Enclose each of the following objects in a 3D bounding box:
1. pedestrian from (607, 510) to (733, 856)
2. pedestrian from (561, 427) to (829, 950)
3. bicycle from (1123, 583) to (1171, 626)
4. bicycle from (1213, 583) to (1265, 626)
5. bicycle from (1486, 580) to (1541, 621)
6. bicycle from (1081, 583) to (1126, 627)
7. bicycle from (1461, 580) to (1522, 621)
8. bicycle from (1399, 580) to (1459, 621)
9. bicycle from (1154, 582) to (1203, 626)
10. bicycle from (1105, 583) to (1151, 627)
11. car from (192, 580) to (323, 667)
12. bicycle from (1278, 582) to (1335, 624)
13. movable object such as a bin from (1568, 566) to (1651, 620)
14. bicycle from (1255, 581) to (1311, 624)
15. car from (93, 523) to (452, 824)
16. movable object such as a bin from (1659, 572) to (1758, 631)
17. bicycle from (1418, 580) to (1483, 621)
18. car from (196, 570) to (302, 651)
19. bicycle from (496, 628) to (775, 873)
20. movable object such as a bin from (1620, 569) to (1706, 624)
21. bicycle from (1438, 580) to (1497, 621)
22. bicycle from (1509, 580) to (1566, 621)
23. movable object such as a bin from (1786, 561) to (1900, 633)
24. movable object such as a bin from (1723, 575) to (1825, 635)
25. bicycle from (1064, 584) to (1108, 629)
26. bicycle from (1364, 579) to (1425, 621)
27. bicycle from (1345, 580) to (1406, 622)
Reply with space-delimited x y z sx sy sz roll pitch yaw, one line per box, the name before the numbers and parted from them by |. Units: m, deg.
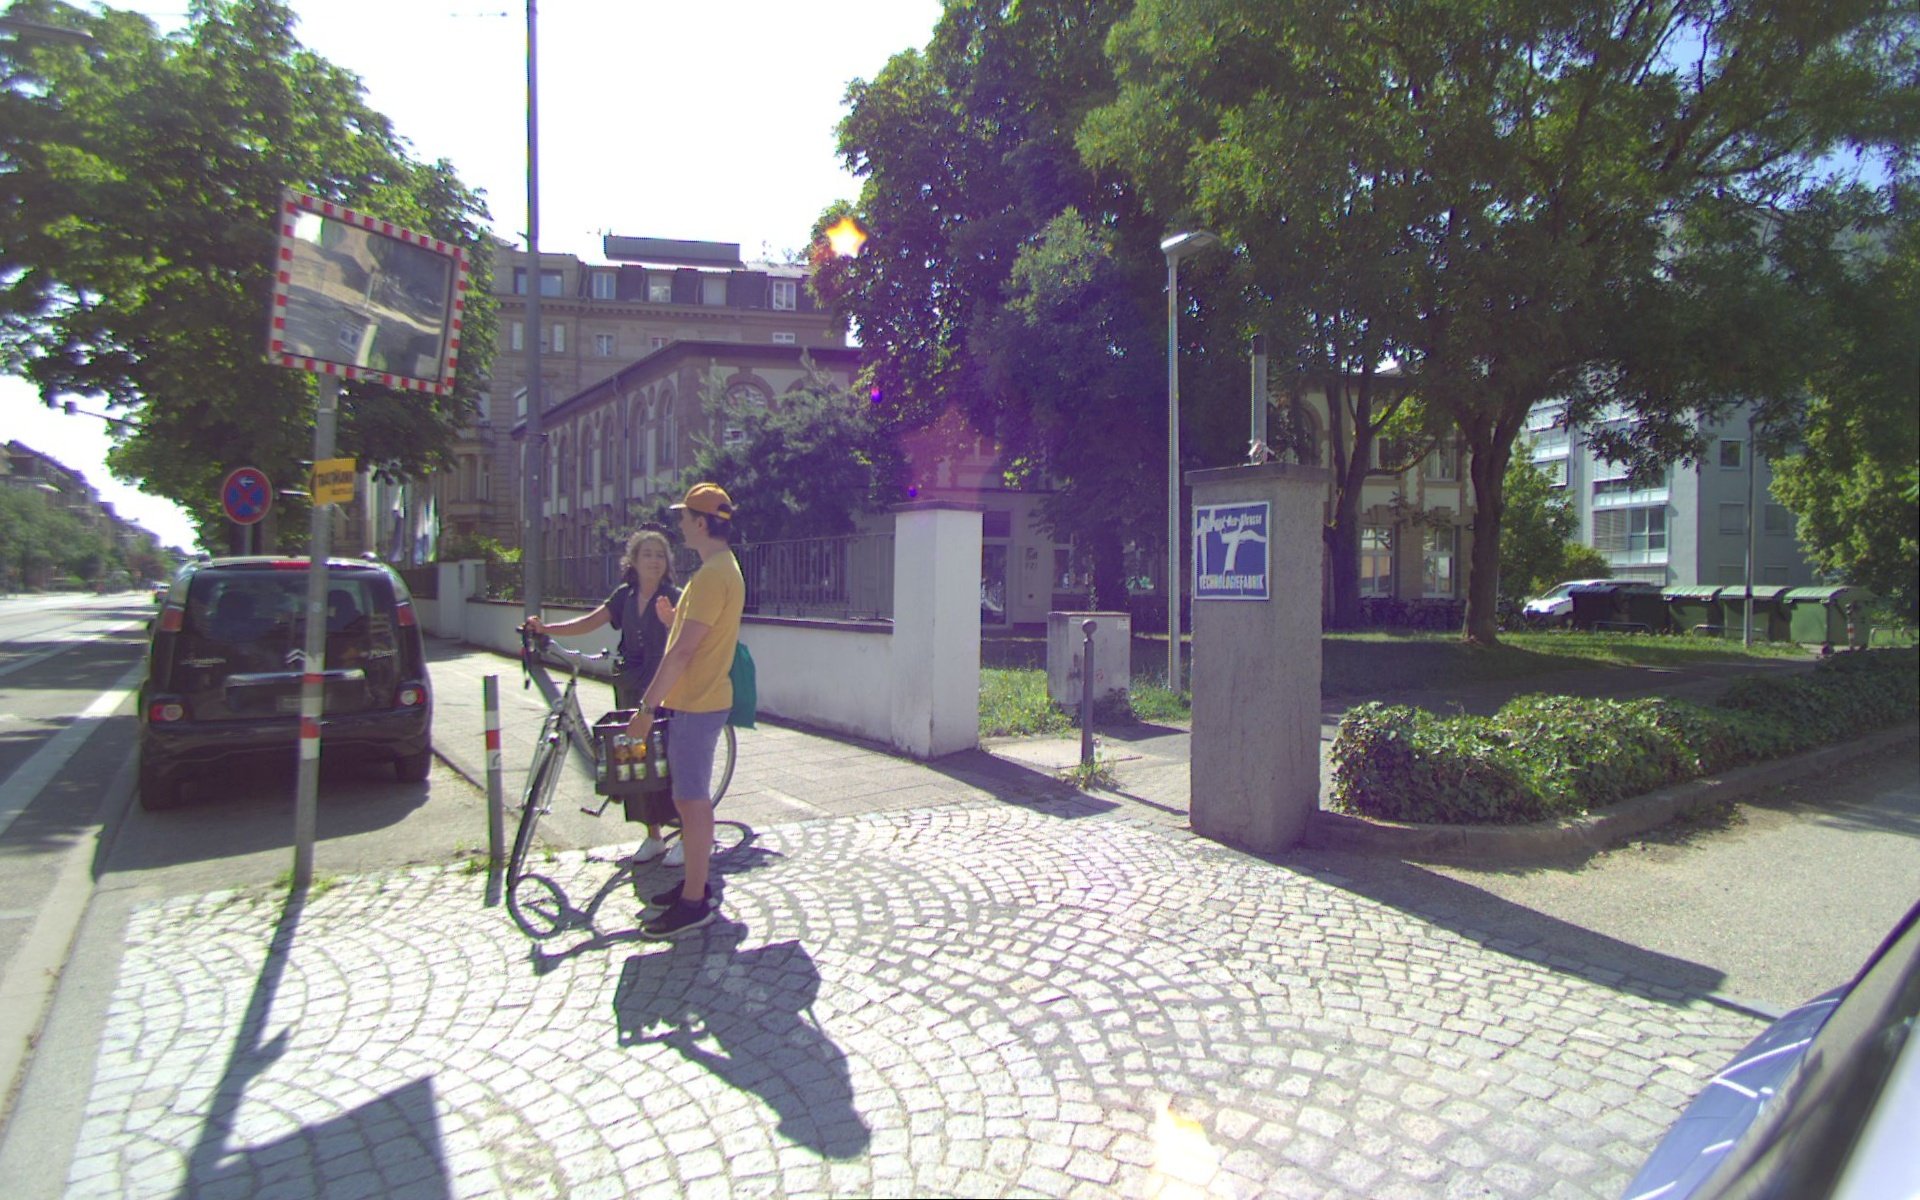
pedestrian | -1.460 0.389 5.105 0.419 1.642 0.448 0 0 36
pedestrian | -1.119 0.310 4.235 0.838 1.888 0.829 -1 1 -36
bicycle | 5.252 0.098 28.532 0.576 1.176 2.106 0 1 -11
bicycle | 7.937 0.106 28.883 0.576 1.176 2.106 0 1 -11
bicycle | 16.520 0.005 30.232 0.497 1.176 1.807 0 1 -6
bicycle | 3.962 0.118 28.168 0.576 1.176 2.106 0 1 -11
bicycle | 15.868 -0.002 30.268 0.601 1.176 1.854 0 1 -11
bicycle | 13.785 0.005 29.774 0.576 1.176 1.925 0 1 -11
bicycle | 6.161 0.094 28.637 0.576 1.176 2.106 0 1 -11
bicycle | 4.676 0.114 28.298 0.576 1.176 2.106 0 1 -11
car | -13.174 0.353 18.873 1.823 1.429 3.997 -1 1 -37
bicycle | 9.995 0.064 29.264 0.576 1.176 2.106 0 1 -11
movable object such as a bin | 17.694 -0.204 27.602 1.224 1.427 1.439 0 1 -15
bicycle | 9.256 0.054 29.090 0.576 1.176 2.106 0 1 -11
car | -5.293 0.379 7.902 1.822 1.705 4.000 -1 1 -35
movable object such as a bin | 18.131 0.012 24.547 1.190 1.378 1.505 0 1 -14
bicycle | 14.492 0.000 29.979 0.576 1.176 2.106 0 1 -11
car | -16.414 0.179 23.296 1.823 1.701 3.997 -1 1 -37
bicycle | -1.642 0.707 5.340 0.361 1.054 1.494 0 1 35
movable object such as a bin | 18.095 -0.110 26.078 1.190 1.366 1.355 0 1 -14
bicycle | 15.048 0.004 30.062 0.484 1.176 1.917 0 1 -11
bicycle | 17.137 -0.004 30.095 0.546 1.176 1.946 0 1 -1
movable object such as a bin | 18.822 -0.081 21.619 1.192 1.481 1.392 0 1 1
movable object such as a bin | 18.505 0.094 23.036 1.190 1.317 1.358 0 1 -14
bicycle | 3.414 0.146 27.615 0.576 1.176 2.106 0 1 -11
bicycle | 12.711 -0.015 29.684 0.576 1.176 2.106 0 1 -11
bicycle | 12.077 0.000 29.508 0.576 1.176 2.106 0 1 -11
